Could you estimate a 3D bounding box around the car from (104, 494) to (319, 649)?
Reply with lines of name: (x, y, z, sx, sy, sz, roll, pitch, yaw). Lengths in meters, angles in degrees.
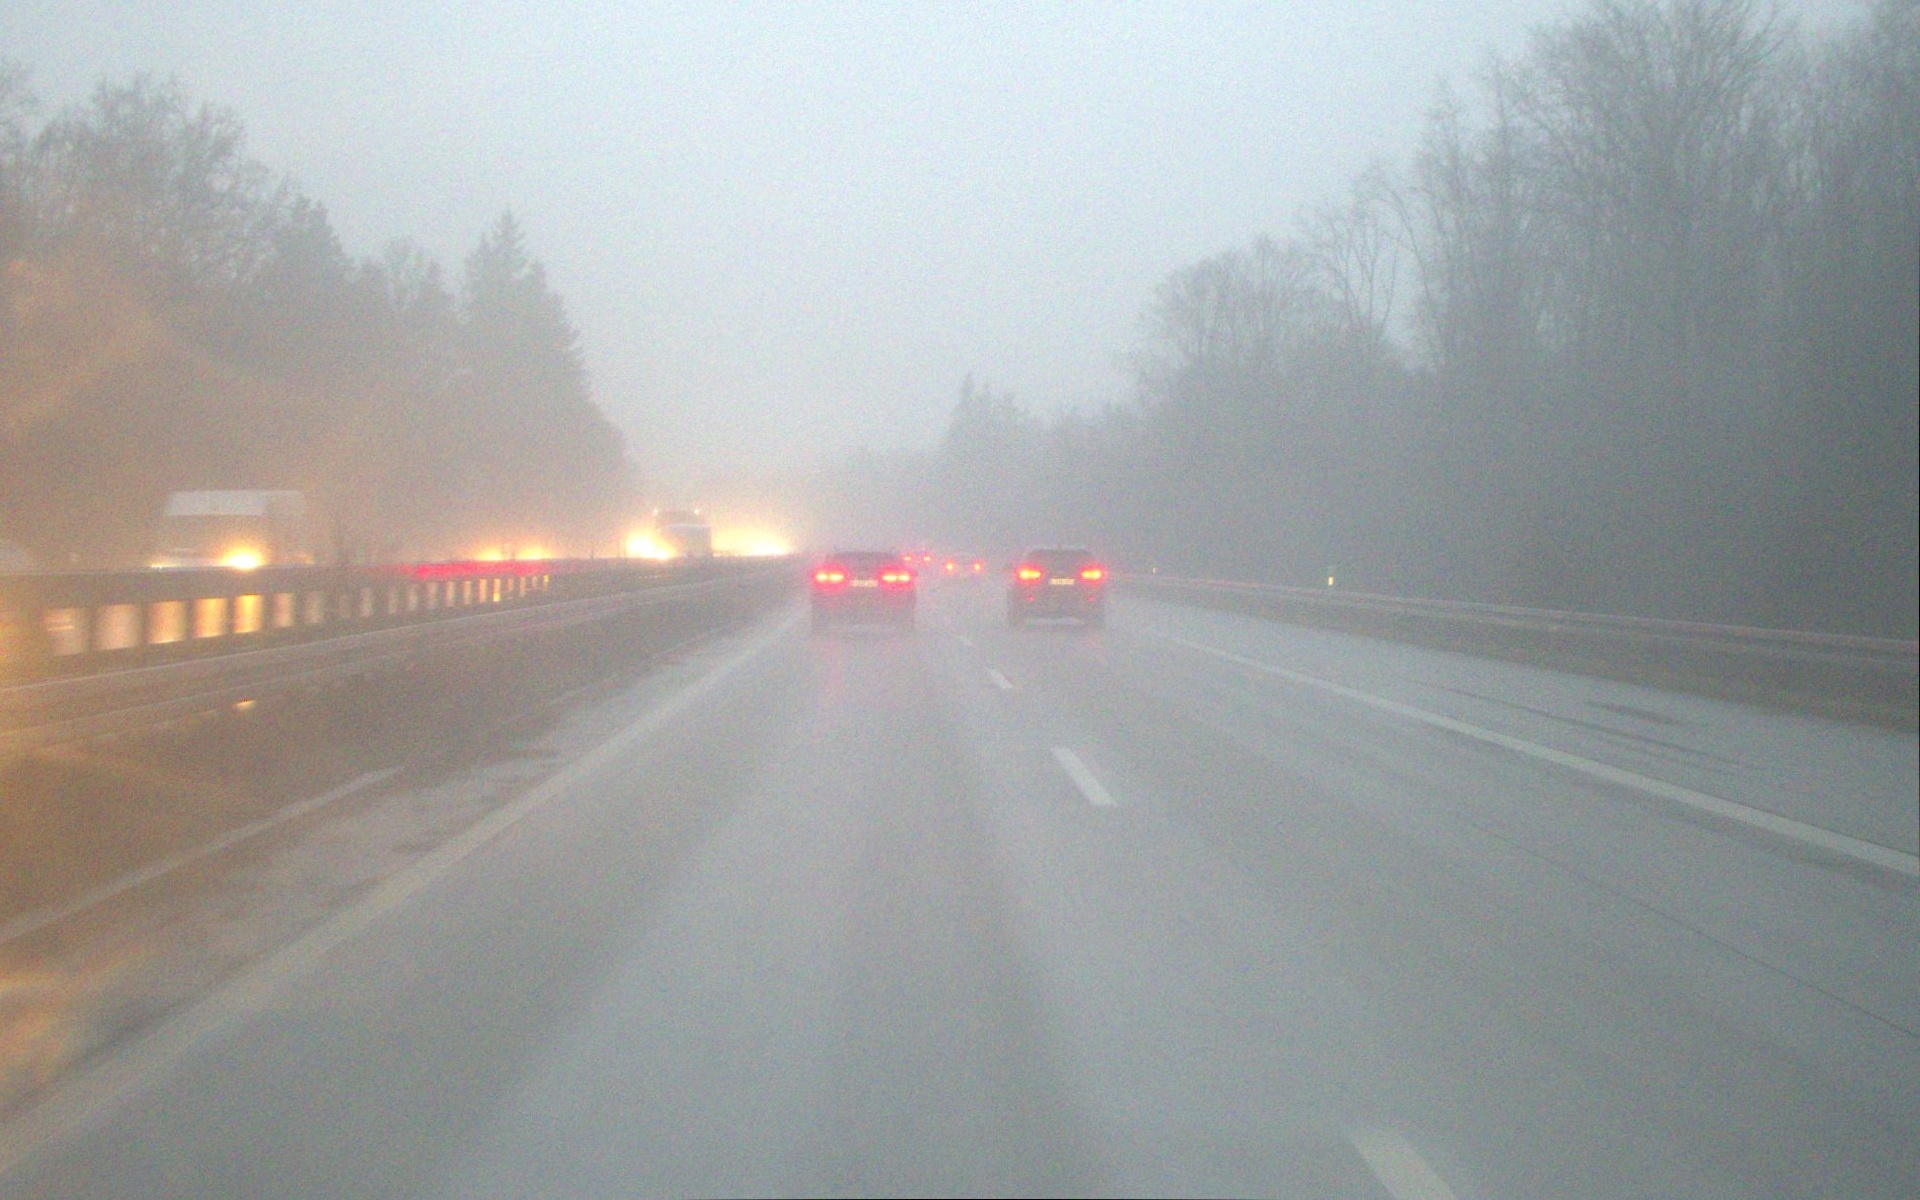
car: (-12.892, -0.503, 59.677, 2.476, 2.514, 6.269, 1, 1, -1)

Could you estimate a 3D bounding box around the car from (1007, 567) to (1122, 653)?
car: (2.136, 0.175, 71.217, 2.070, 1.692, 4.461, 1, 1, -2)

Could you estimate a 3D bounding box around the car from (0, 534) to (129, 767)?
car: (-8.219, 0.337, 27.572, 1.904, 1.762, 5.261, 2, 1, -1)

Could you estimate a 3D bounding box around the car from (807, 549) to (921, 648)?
car: (-1.809, -0.051, 63.372, 1.986, 1.761, 4.174, 0, 1, -3)
